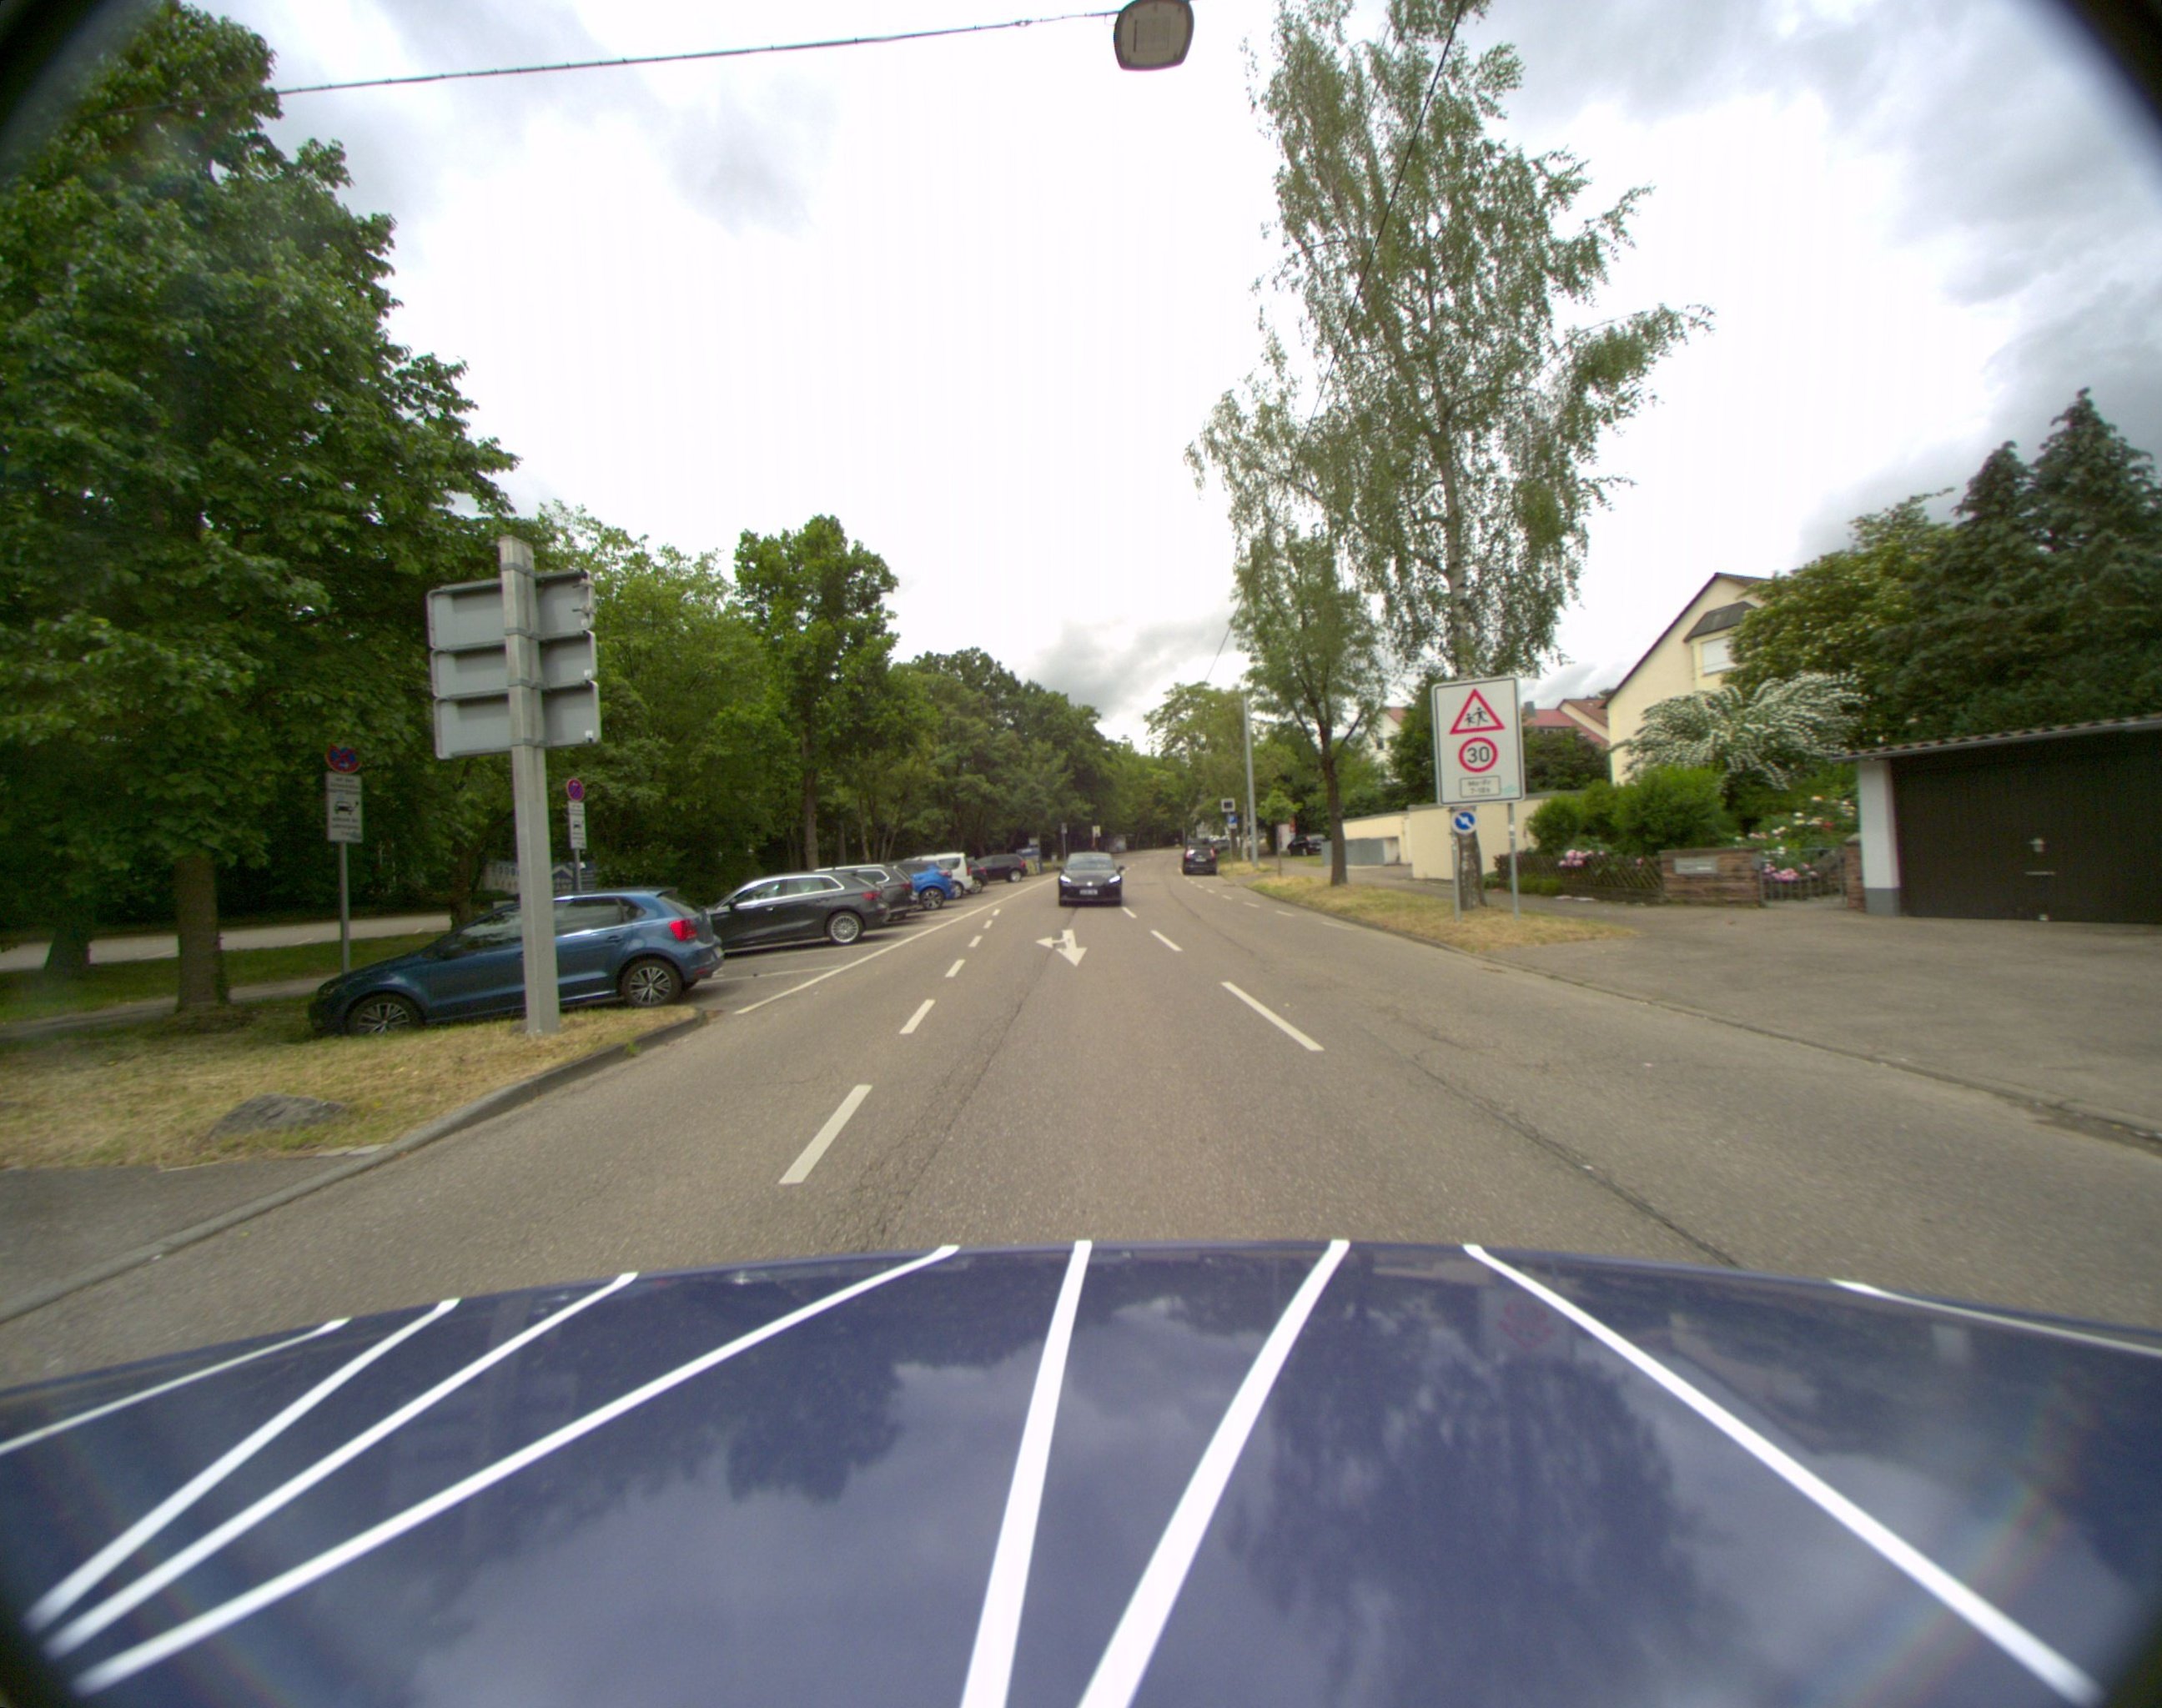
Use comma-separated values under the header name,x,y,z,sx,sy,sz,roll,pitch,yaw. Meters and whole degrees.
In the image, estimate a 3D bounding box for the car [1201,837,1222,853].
name,x,y,z,sx,sy,sz,roll,pitch,yaw
car,13.524,-0.940,78.685,1.738,1.570,4.145,-2,2,15

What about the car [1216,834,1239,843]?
name,x,y,z,sx,sy,sz,roll,pitch,yaw
car,28.798,-3.098,149.521,3.996,1.456,1.866,-5,1,3

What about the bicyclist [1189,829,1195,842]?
name,x,y,z,sx,sy,sz,roll,pitch,yaw
bicyclist,15.597,-2.587,106.970,0.646,1.769,0.628,-2,2,16

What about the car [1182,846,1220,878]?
name,x,y,z,sx,sy,sz,roll,pitch,yaw
car,6.373,0.387,40.831,1.808,1.554,4.268,0,2,6

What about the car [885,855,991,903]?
name,x,y,z,sx,sy,sz,roll,pitch,yaw
car,-5.610,0.954,29.959,3.831,1.459,1.745,-6,1,-11

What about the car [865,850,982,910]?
name,x,y,z,sx,sy,sz,roll,pitch,yaw
car,-5.660,0.884,27.256,3.832,1.710,1.876,-6,2,-15

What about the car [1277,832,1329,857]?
name,x,y,z,sx,sy,sz,roll,pitch,yaw
car,15.366,-0.667,52.782,1.779,1.469,3.987,-7,2,-8

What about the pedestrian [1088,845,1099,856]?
name,x,y,z,sx,sy,sz,roll,pitch,yaw
pedestrian,1.405,-0.405,87.281,1.065,1.175,0.580,-2,2,13

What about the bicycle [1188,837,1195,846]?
name,x,y,z,sx,sy,sz,roll,pitch,yaw
bicycle,15.467,-1.782,106.424,0.647,1.230,1.879,-3,1,17

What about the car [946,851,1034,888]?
name,x,y,z,sx,sy,sz,roll,pitch,yaw
car,-4.610,0.745,38.298,4.002,1.406,2.055,-6,1,-17

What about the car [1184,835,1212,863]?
name,x,y,z,sx,sy,sz,roll,pitch,yaw
car,8.913,-0.408,57.410,1.861,1.898,5.085,-2,1,10

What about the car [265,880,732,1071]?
name,x,y,z,sx,sy,sz,roll,pitch,yaw
car,-6.371,1.251,8.877,3.833,1.417,1.744,-6,2,-17

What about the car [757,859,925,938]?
name,x,y,z,sx,sy,sz,roll,pitch,yaw
car,-6.130,1.090,19.738,3.832,1.520,1.744,-6,2,-15

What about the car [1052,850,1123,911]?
name,x,y,z,sx,sy,sz,roll,pitch,yaw
car,0.278,0.730,22.741,1.812,1.484,3.793,-3,2,4

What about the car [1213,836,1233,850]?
name,x,y,z,sx,sy,sz,roll,pitch,yaw
car,16.825,-1.322,89.812,1.737,1.529,4.194,-1,2,18

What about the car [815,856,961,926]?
name,x,y,z,sx,sy,sz,roll,pitch,yaw
car,-5.599,1.028,22.184,3.832,1.520,1.744,-6,2,-15

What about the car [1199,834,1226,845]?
name,x,y,z,sx,sy,sz,roll,pitch,yaw
car,23.890,-2.667,138.130,4.475,1.576,1.908,-5,1,15

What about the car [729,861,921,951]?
name,x,y,z,sx,sy,sz,roll,pitch,yaw
car,-5.747,1.111,17.429,3.832,1.520,1.744,-6,2,-15

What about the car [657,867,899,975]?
name,x,y,z,sx,sy,sz,roll,pitch,yaw
car,-5.518,1.167,14.363,3.887,1.418,1.827,-6,2,-15
